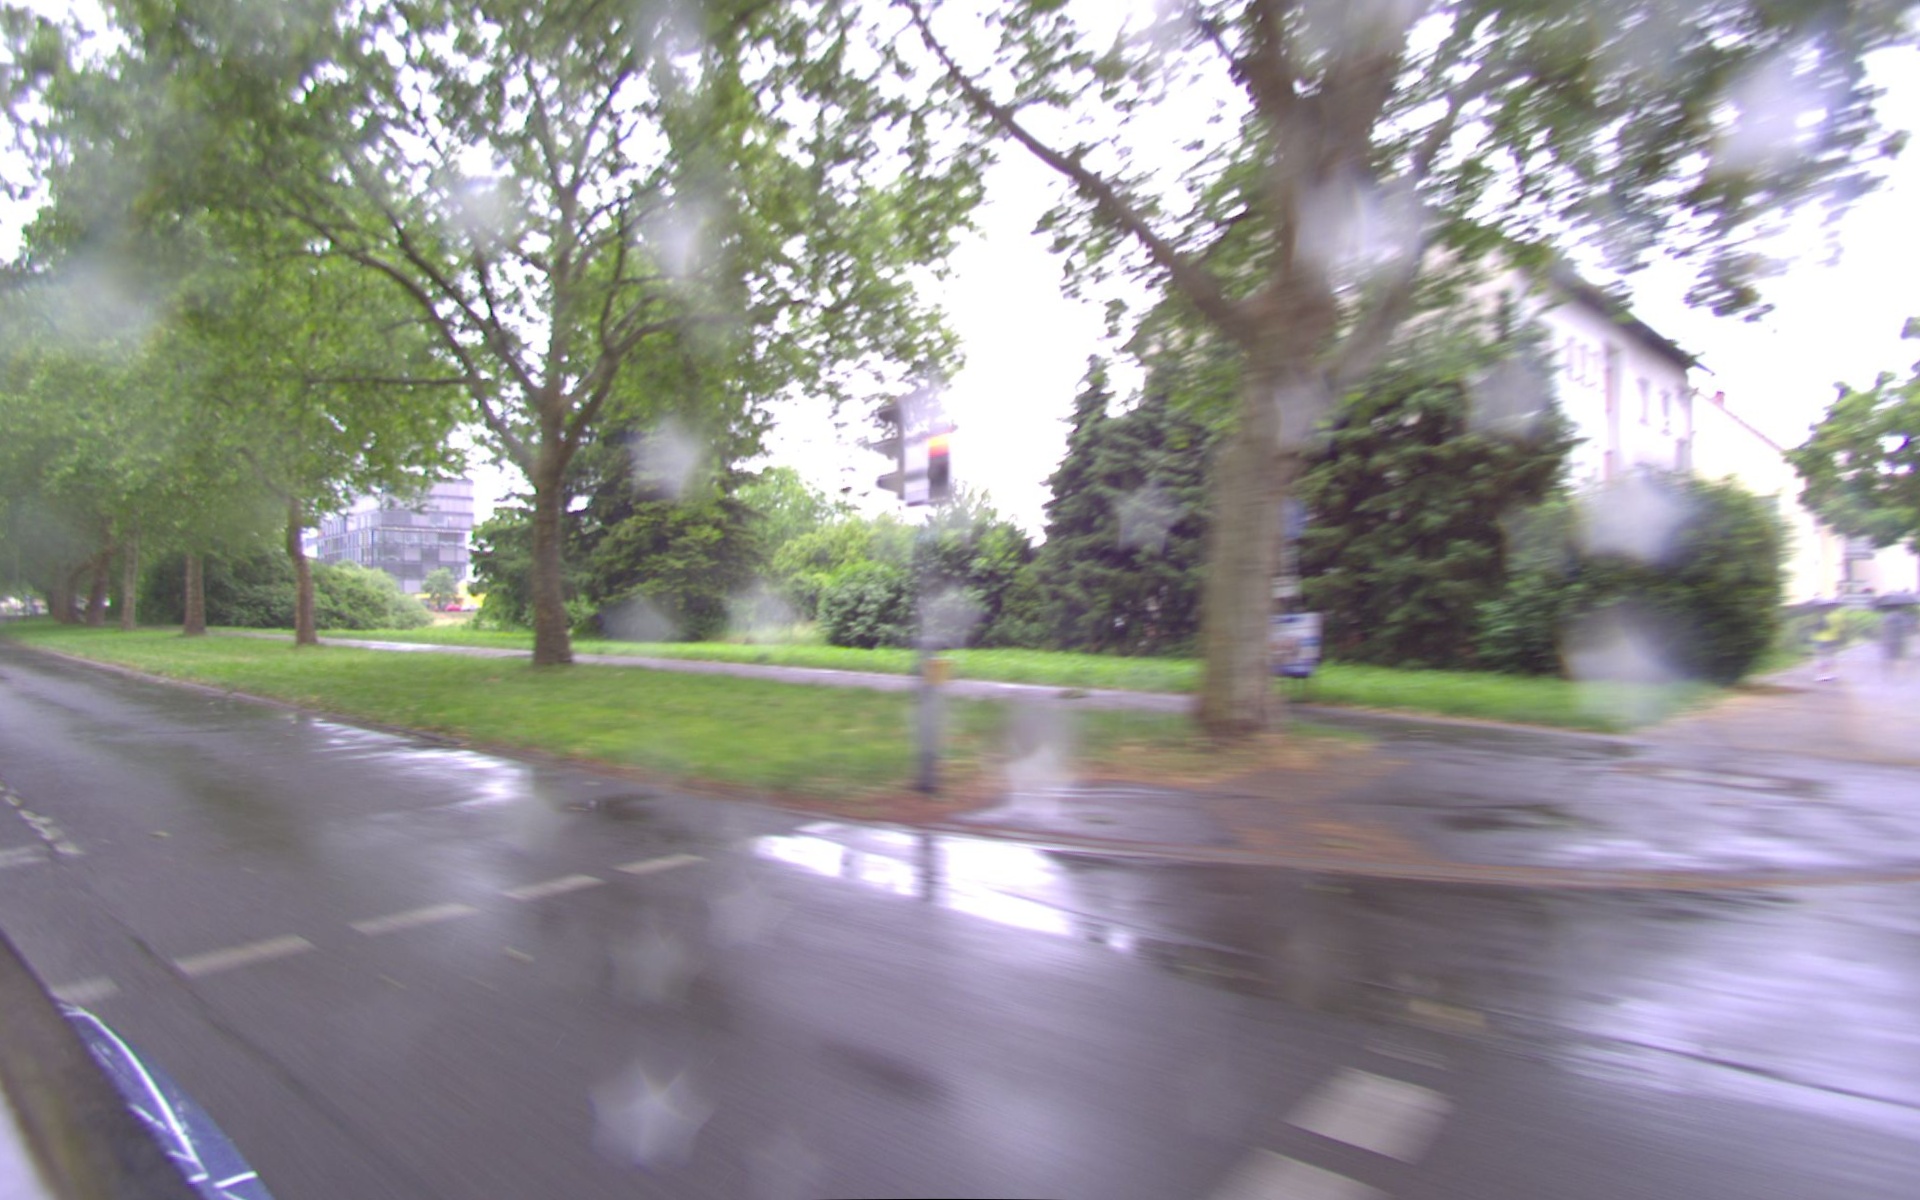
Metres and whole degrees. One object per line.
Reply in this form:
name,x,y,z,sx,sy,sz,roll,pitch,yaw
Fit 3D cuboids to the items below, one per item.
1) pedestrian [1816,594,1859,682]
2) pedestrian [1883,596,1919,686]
pedestrian,17.979,0.769,20.757,0.639,1.758,0.586,-1,-1,41
pedestrian,18.741,0.800,20.046,0.639,1.758,0.850,-1,-1,40
